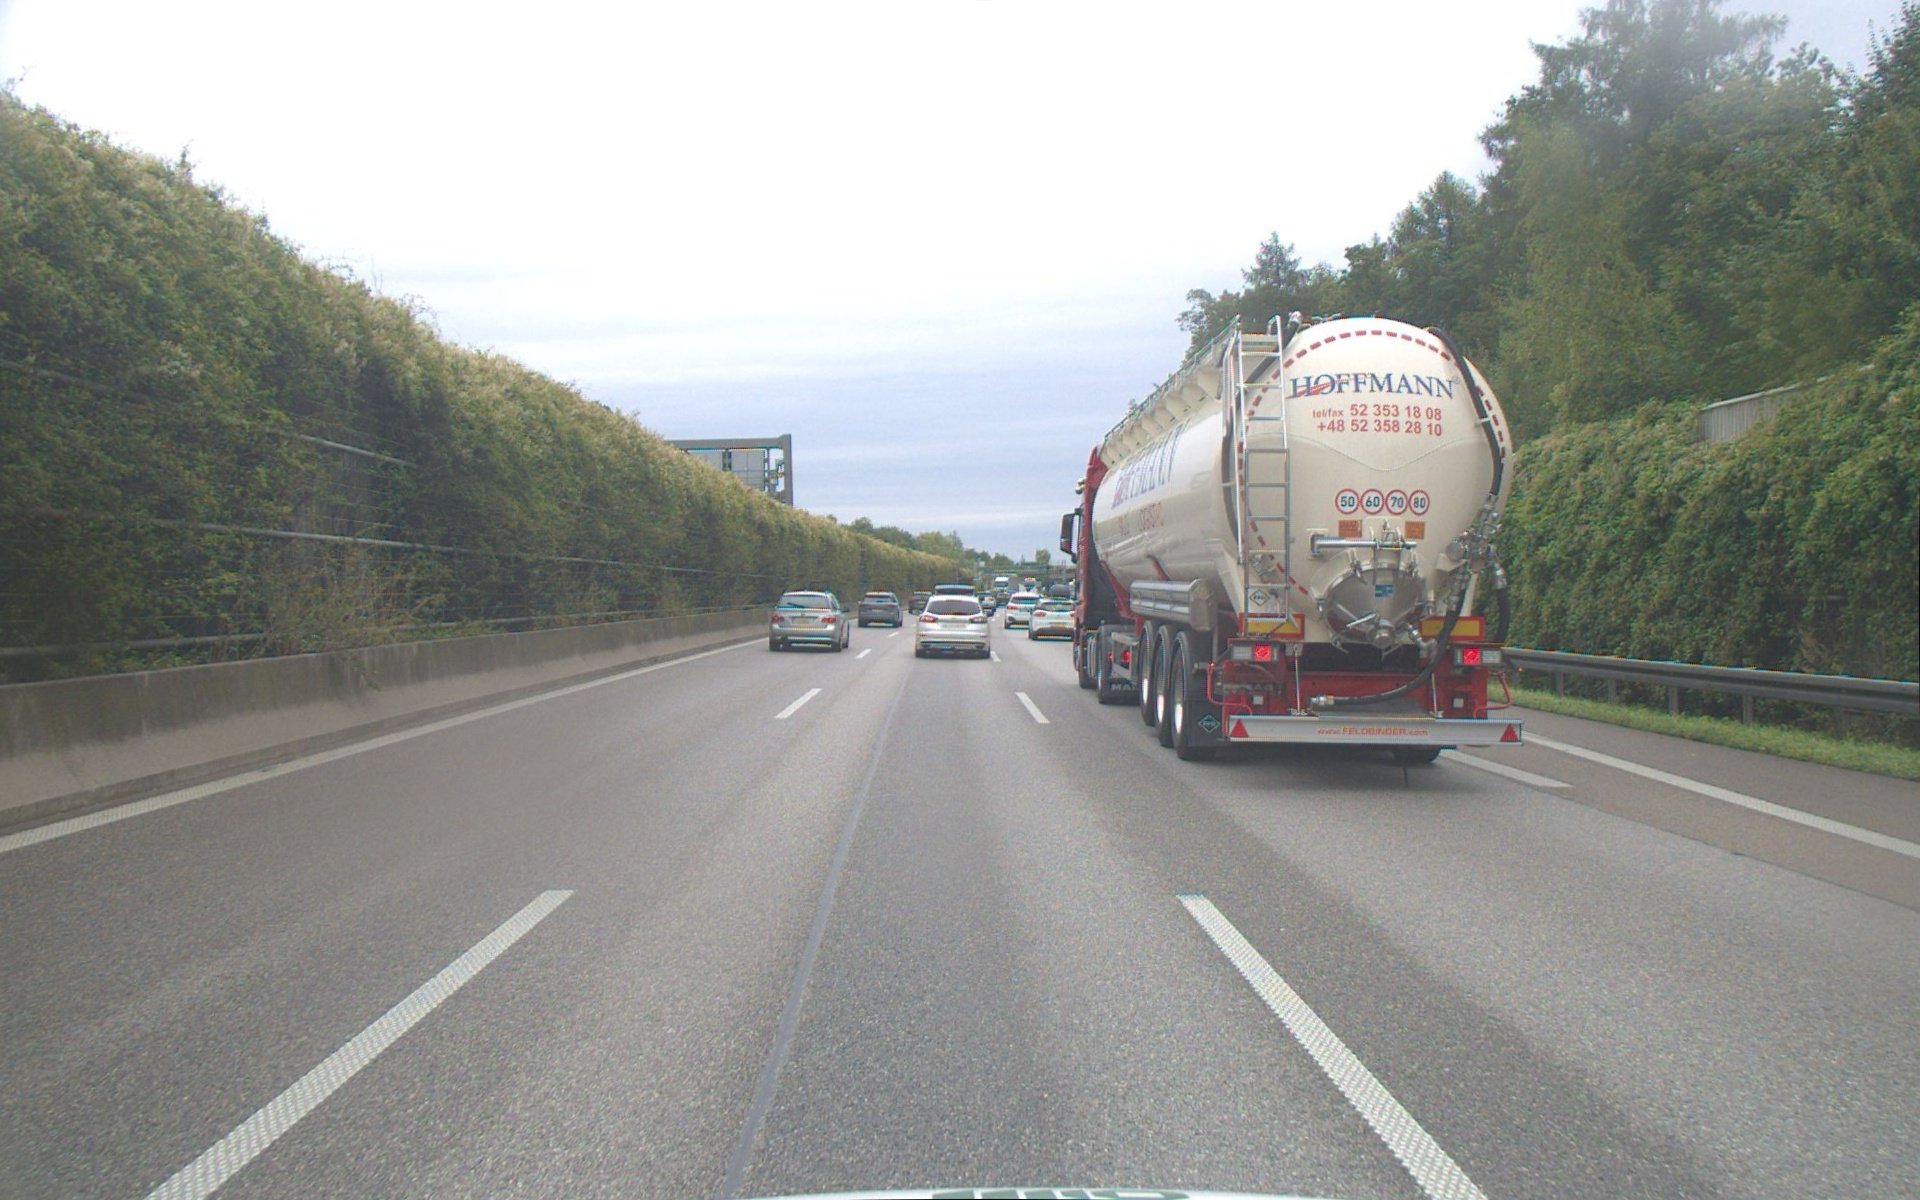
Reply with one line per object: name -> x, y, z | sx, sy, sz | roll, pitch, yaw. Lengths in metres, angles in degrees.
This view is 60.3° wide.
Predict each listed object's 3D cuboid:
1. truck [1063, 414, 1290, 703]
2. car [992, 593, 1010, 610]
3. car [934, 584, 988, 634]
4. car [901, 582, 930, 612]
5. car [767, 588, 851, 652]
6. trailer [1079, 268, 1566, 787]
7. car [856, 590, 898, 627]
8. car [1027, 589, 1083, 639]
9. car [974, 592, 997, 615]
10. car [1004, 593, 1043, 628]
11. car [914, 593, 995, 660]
truck -> 3.199, -0.562, 26.133 | 2.640, 3.981, 6.555 | 0, 0, -1
car -> 3.976, 0.142, 160.212 | 1.653, 1.566, 3.873 | 0, 1, 3
car -> 0.007, 0.282, 58.838 | 1.655, 1.532, 3.870 | 4, 2, -2
car -> -3.019, -0.215, 112.482 | 1.953, 2.049, 3.840 | 0, 0, -1
car -> -3.827, 0.471, 42.653 | 1.685, 1.494, 5.030 | 0, 1, 0
trailer -> 3.290, -0.543, 19.374 | 2.614, 4.008, 13.127 | 0, 0, -1
car -> -3.539, 0.344, 70.924 | 1.685, 1.538, 5.028 | 0, 0, -2
car -> 3.229, 0.453, 56.828 | 1.778, 1.654, 5.031 | 0, 0, 2
car -> 2.038, 0.253, 130.872 | 1.753, 1.811, 3.872 | 0, 0, 2
car -> 2.824, 0.467, 73.770 | 1.654, 1.533, 3.872 | 0, 0, 1
car -> -0.124, 0.596, 40.683 | 1.853, 1.530, 5.030 | 0, 0, 0
